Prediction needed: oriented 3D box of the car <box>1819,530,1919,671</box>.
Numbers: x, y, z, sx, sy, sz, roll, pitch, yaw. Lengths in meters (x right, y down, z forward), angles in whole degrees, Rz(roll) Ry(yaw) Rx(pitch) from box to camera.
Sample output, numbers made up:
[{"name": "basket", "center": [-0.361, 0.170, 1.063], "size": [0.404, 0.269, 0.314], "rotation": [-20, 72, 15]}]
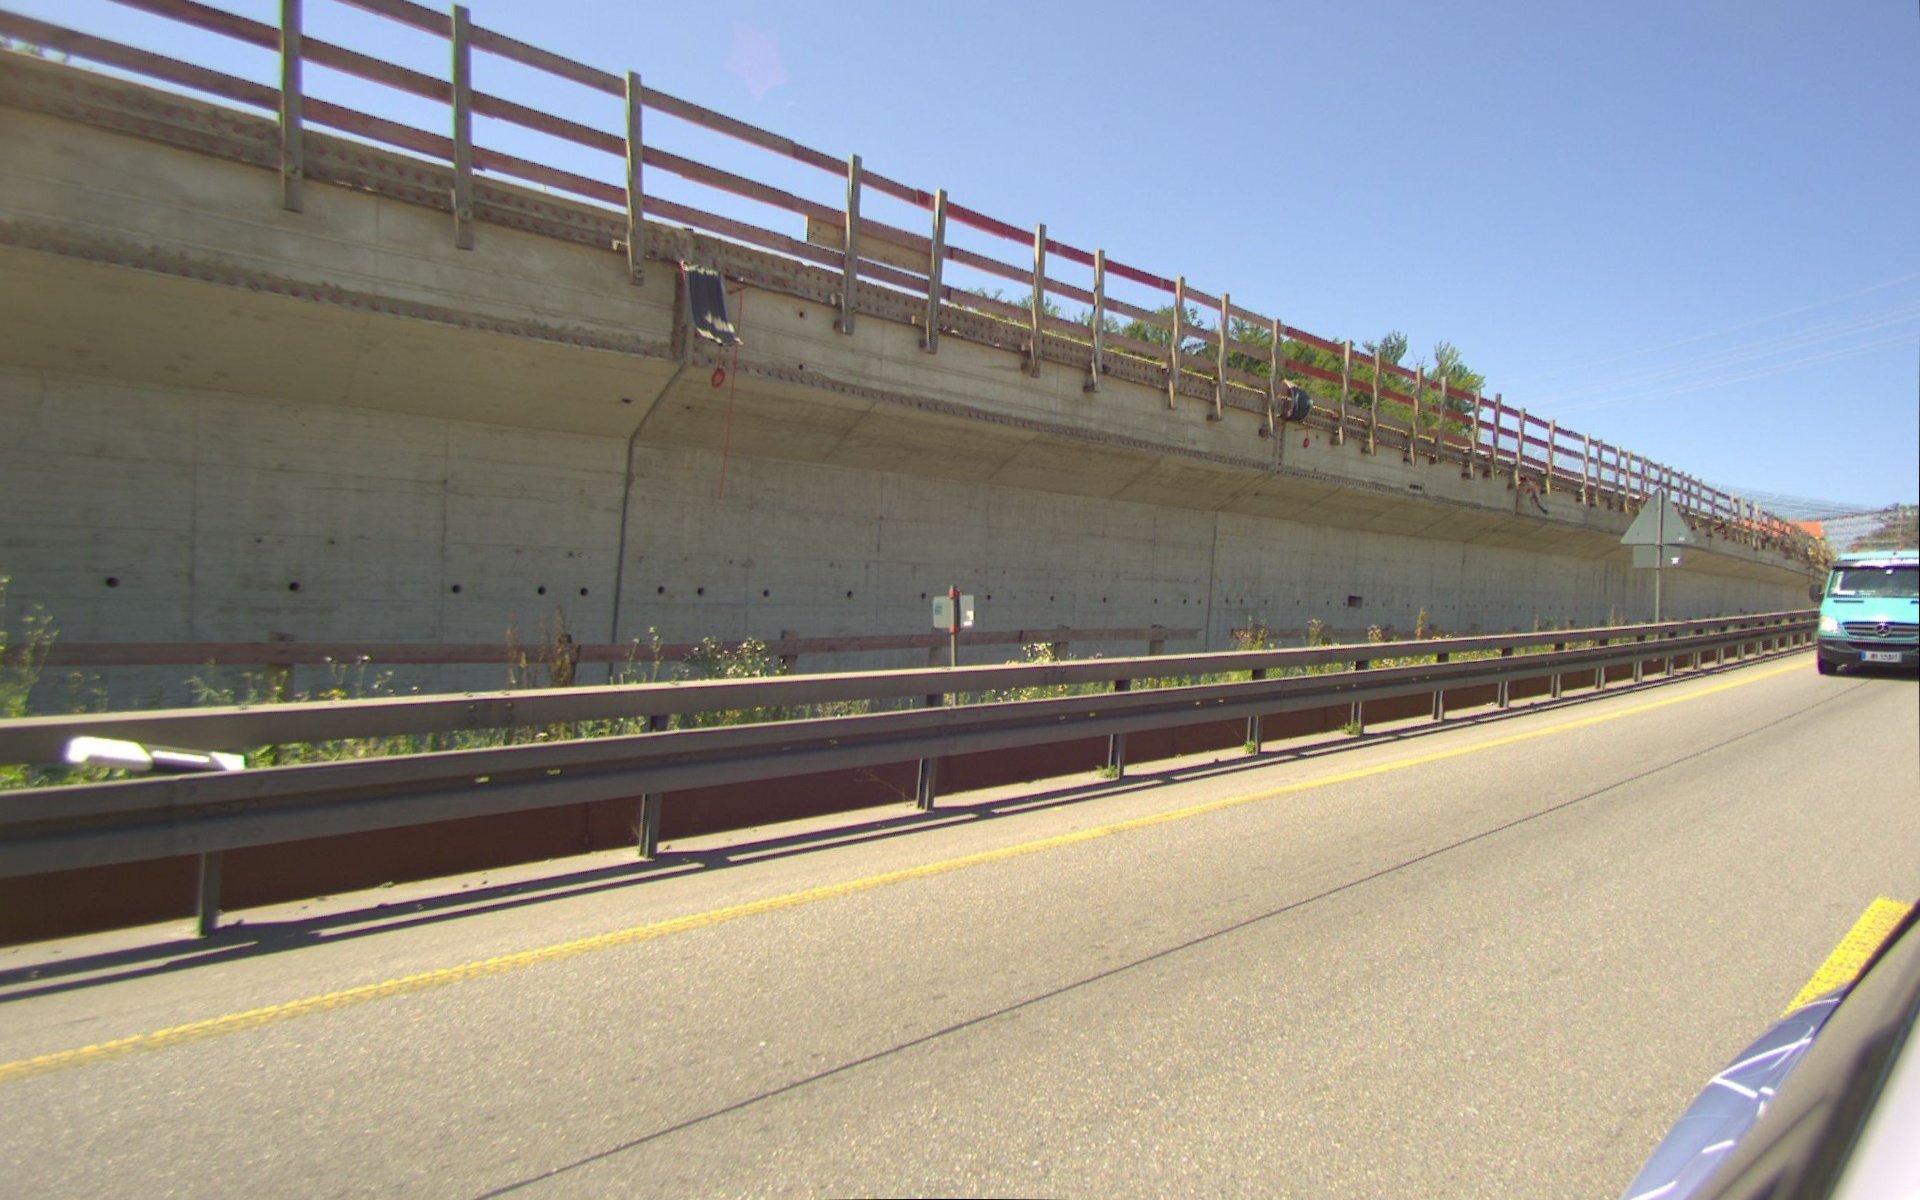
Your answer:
[{"name": "car", "center": [18.480, -0.070, 19.417], "size": [6.785, 2.354, 2.214], "rotation": [-2, 2, -43]}]
